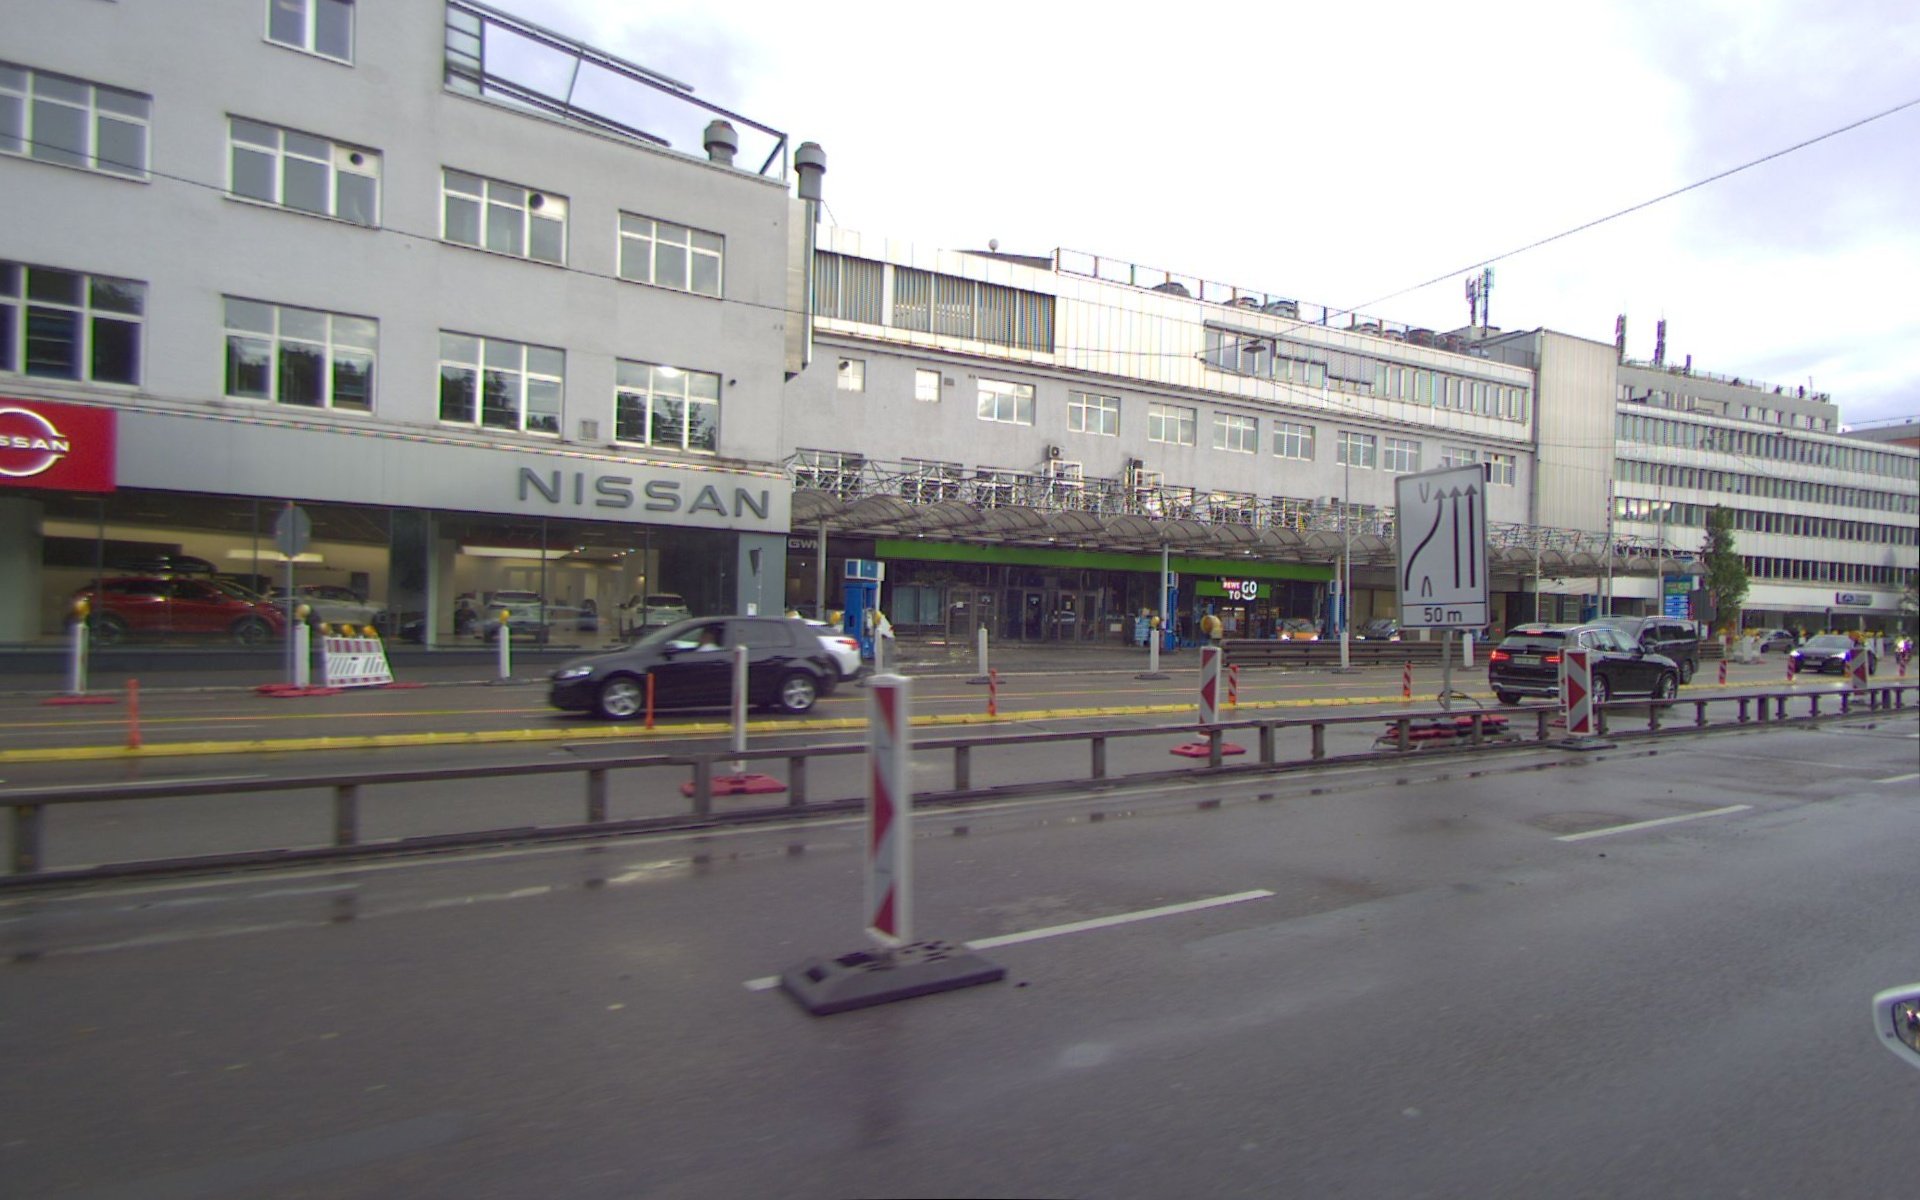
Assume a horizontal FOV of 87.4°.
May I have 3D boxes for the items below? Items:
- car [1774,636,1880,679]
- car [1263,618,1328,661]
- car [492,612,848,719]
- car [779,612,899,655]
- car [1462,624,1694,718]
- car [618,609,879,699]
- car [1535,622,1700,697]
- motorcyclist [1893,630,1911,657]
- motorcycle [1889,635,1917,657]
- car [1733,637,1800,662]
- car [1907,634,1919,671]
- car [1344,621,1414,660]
[{"bbox_3d":[32.900,2.158,38.092,4.657,1.485,1.841,2,-2,-33],"label":"car"},{"bbox_3d":[14.667,1.726,44.194,1.927,1.793,4.449,0,-2,8],"label":"car"},{"bbox_3d":[-4.206,0.927,14.830,4.755,1.369,1.789,2,-2,-30],"label":"car"},{"bbox_3d":[-4.355,1.219,36.271,3.922,1.502,1.804,2,-2,-31],"label":"car"},{"bbox_3d":[12.571,1.346,20.386,4.612,1.619,1.939,1,2,-29],"label":"car"},{"bbox_3d":[-3.909,0.990,18.761,4.466,1.528,1.776,2,-2,-29],"label":"car"},{"bbox_3d":[18.591,1.644,28.334,5.174,1.962,1.983,2,-2,-33],"label":"car"},{"bbox_3d":[49.434,2.293,52.701,0.555,1.381,0.584,1,-1,-33],"label":"motorcyclist"},{"bbox_3d":[49.548,2.433,52.770,2.005,1.117,0.575,2,-2,-32],"label":"motorcycle"},{"bbox_3d":[59.967,3.695,74.697,4.661,1.802,1.845,2,-2,-22],"label":"car"},{"bbox_3d":[46.980,2.500,47.719,4.531,1.712,1.927,2,-1,-33],"label":"car"},{"bbox_3d":[19.548,1.875,47.036,1.973,1.701,4.483,0,-2,8],"label":"car"}]
